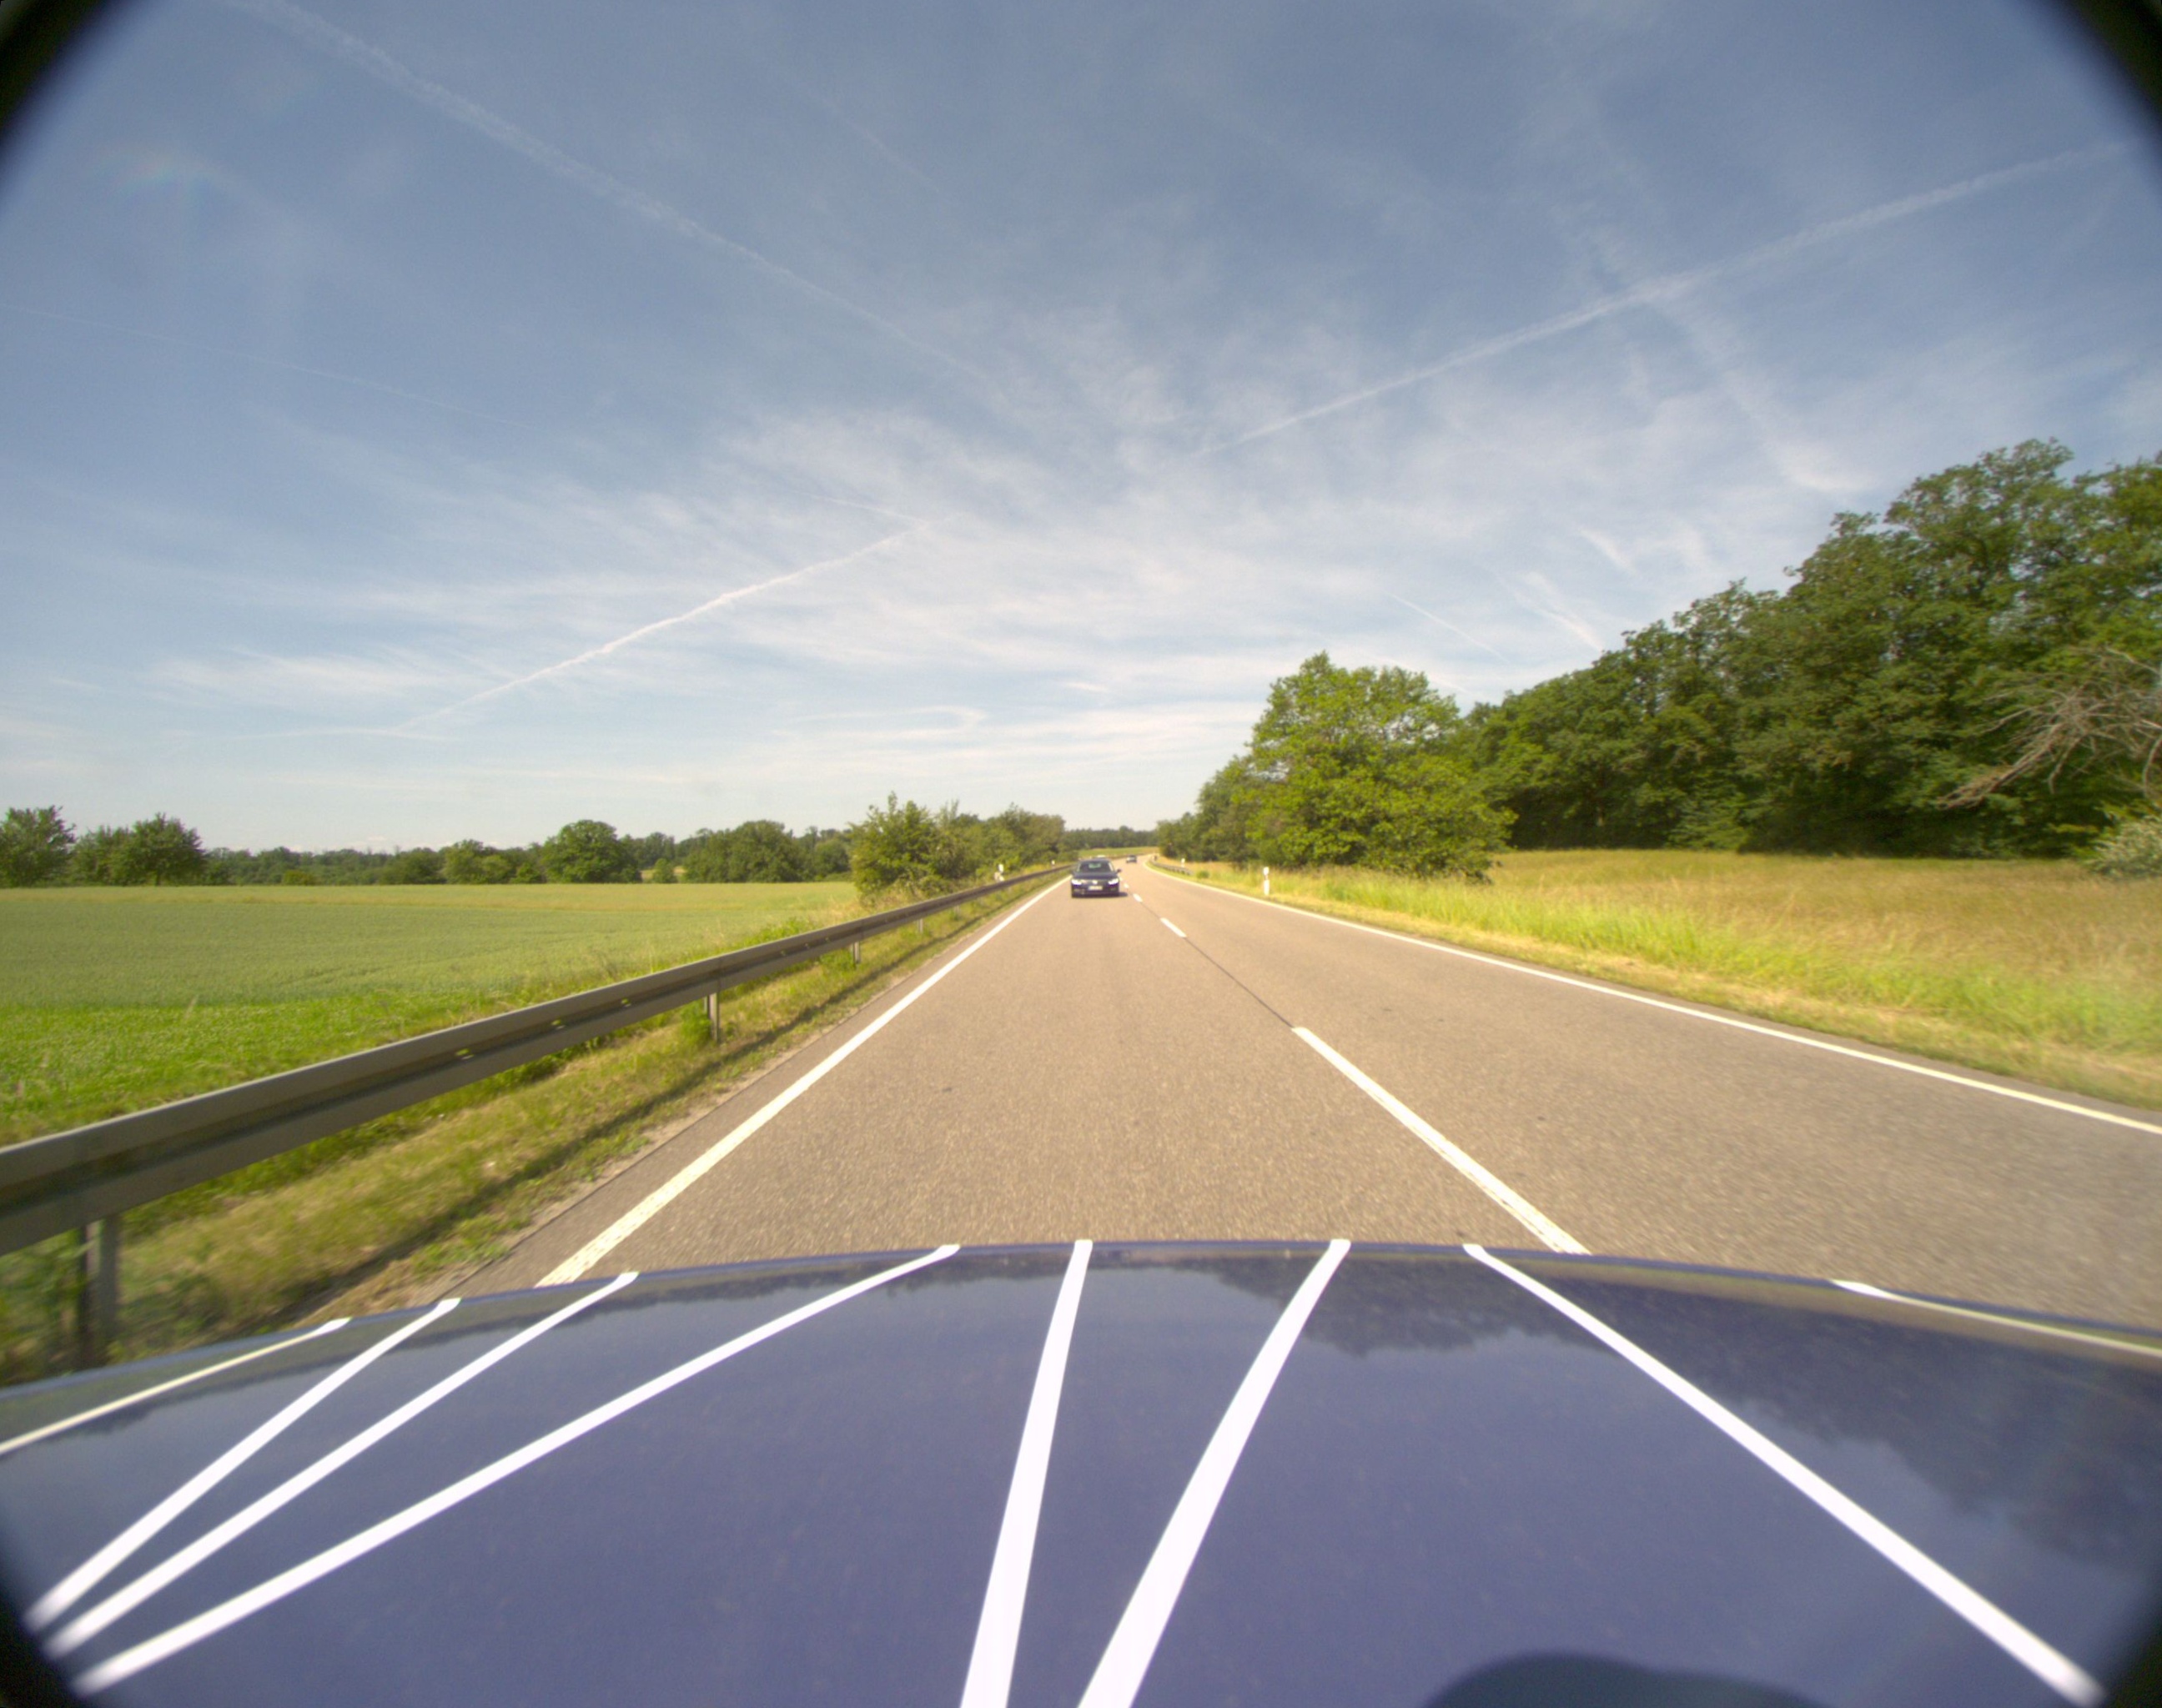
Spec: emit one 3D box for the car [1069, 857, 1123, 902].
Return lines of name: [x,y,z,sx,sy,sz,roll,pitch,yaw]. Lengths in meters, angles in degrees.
car: [0.590,0.896,28.355,1.821,1.501,4.501,-2,-1,2]

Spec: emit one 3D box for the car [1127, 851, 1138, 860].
car: [8.933,0.201,130.502,1.749,1.506,4.054,-1,0,5]

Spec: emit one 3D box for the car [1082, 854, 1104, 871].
car: [1.156,0.780,70.452,1.928,1.501,4.292,-2,-1,2]

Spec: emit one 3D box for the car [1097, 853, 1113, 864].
car: [3.381,0.685,107.338,1.928,1.501,4.291,-2,-1,-1]
